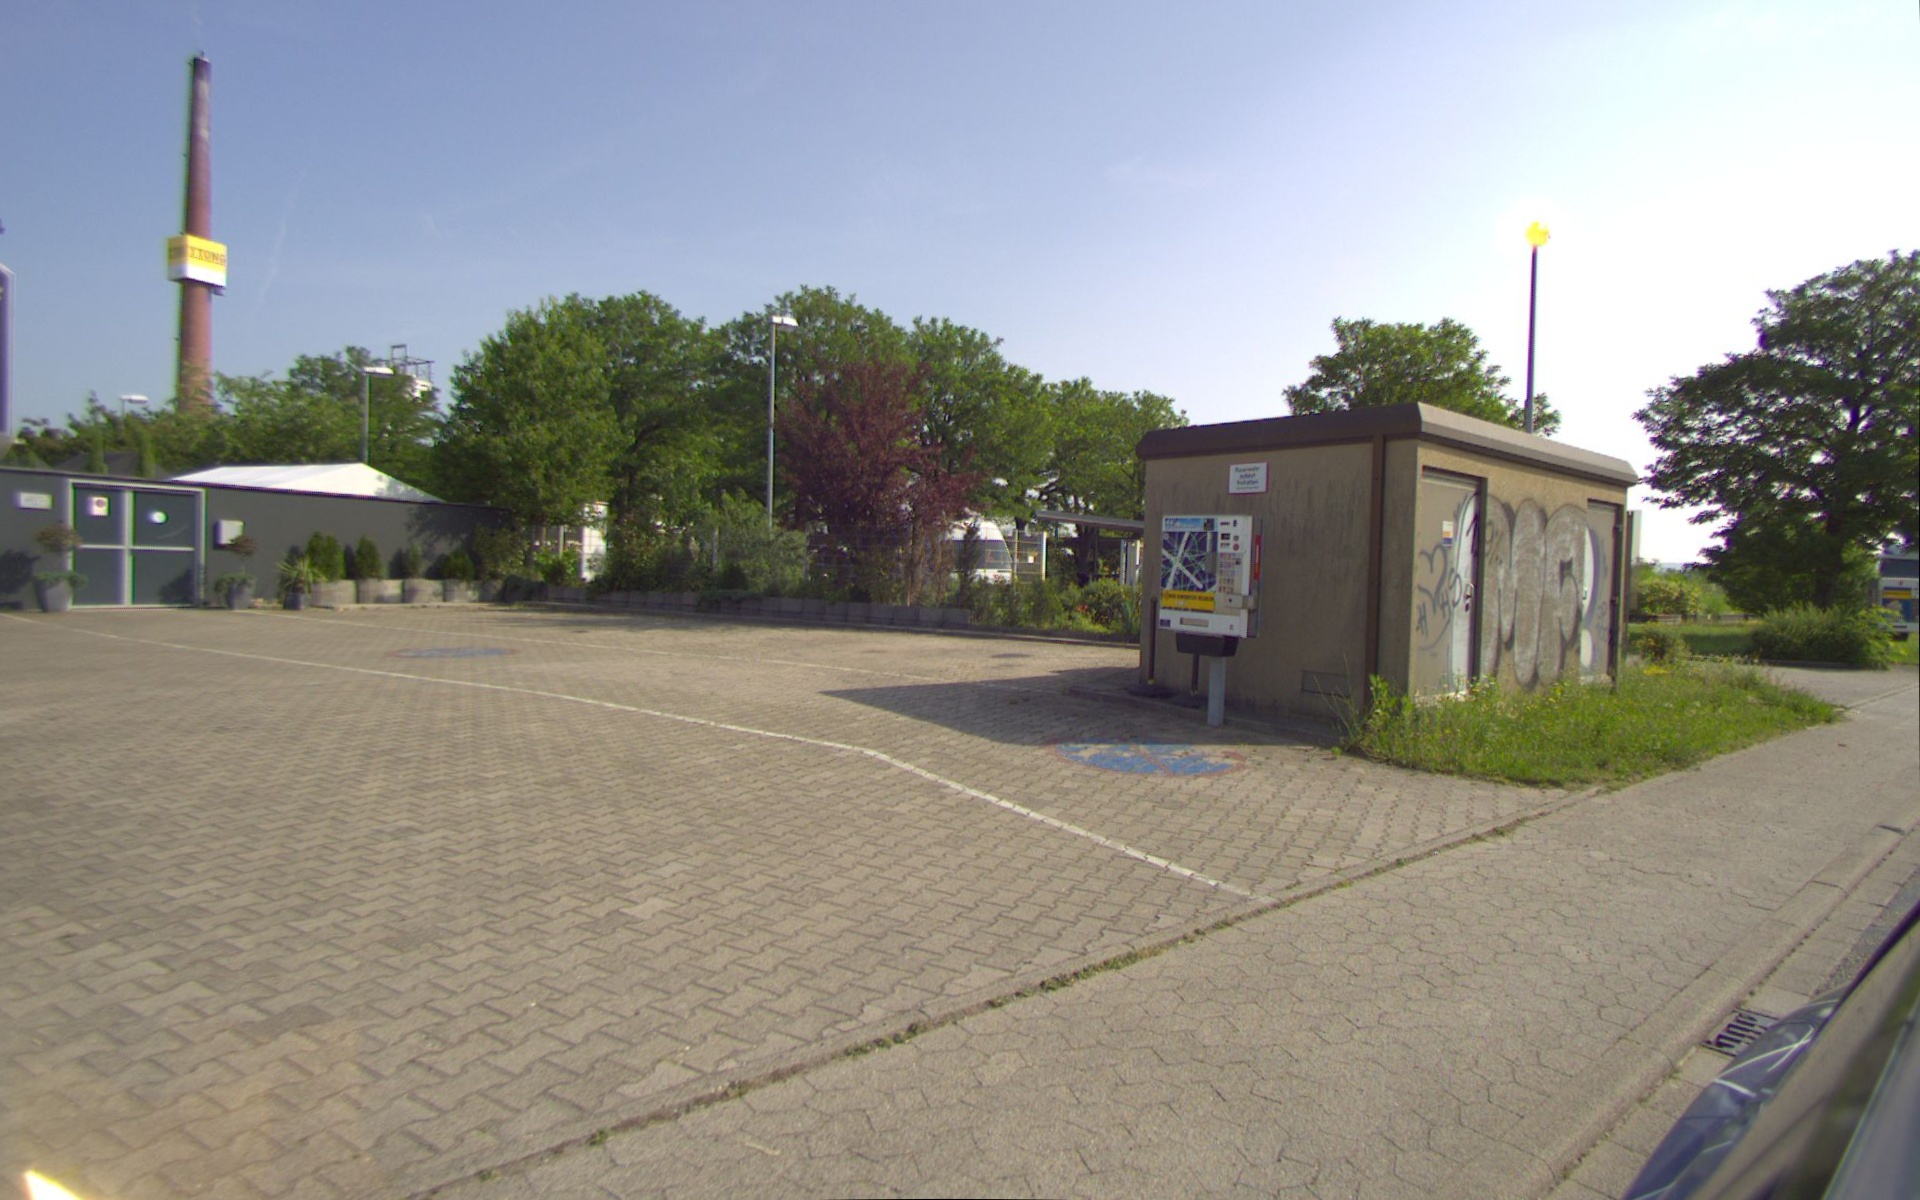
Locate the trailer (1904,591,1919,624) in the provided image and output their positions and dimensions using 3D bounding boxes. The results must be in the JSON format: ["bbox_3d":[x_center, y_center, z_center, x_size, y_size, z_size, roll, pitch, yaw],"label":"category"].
[{"bbox_3d":[47.659,0.385,47.984,13.885,1.408,2.553,0,3,-40],"label":"trailer"}]

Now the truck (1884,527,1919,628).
[{"bbox_3d":[41.829,-0.887,42.941,8.429,4.029,2.559,0,4,-40],"label":"truck"}]

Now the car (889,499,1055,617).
[{"bbox_3d":[0.066,-0.976,25.702,2.233,2.571,6.761,0,1,-17],"label":"car"}]
